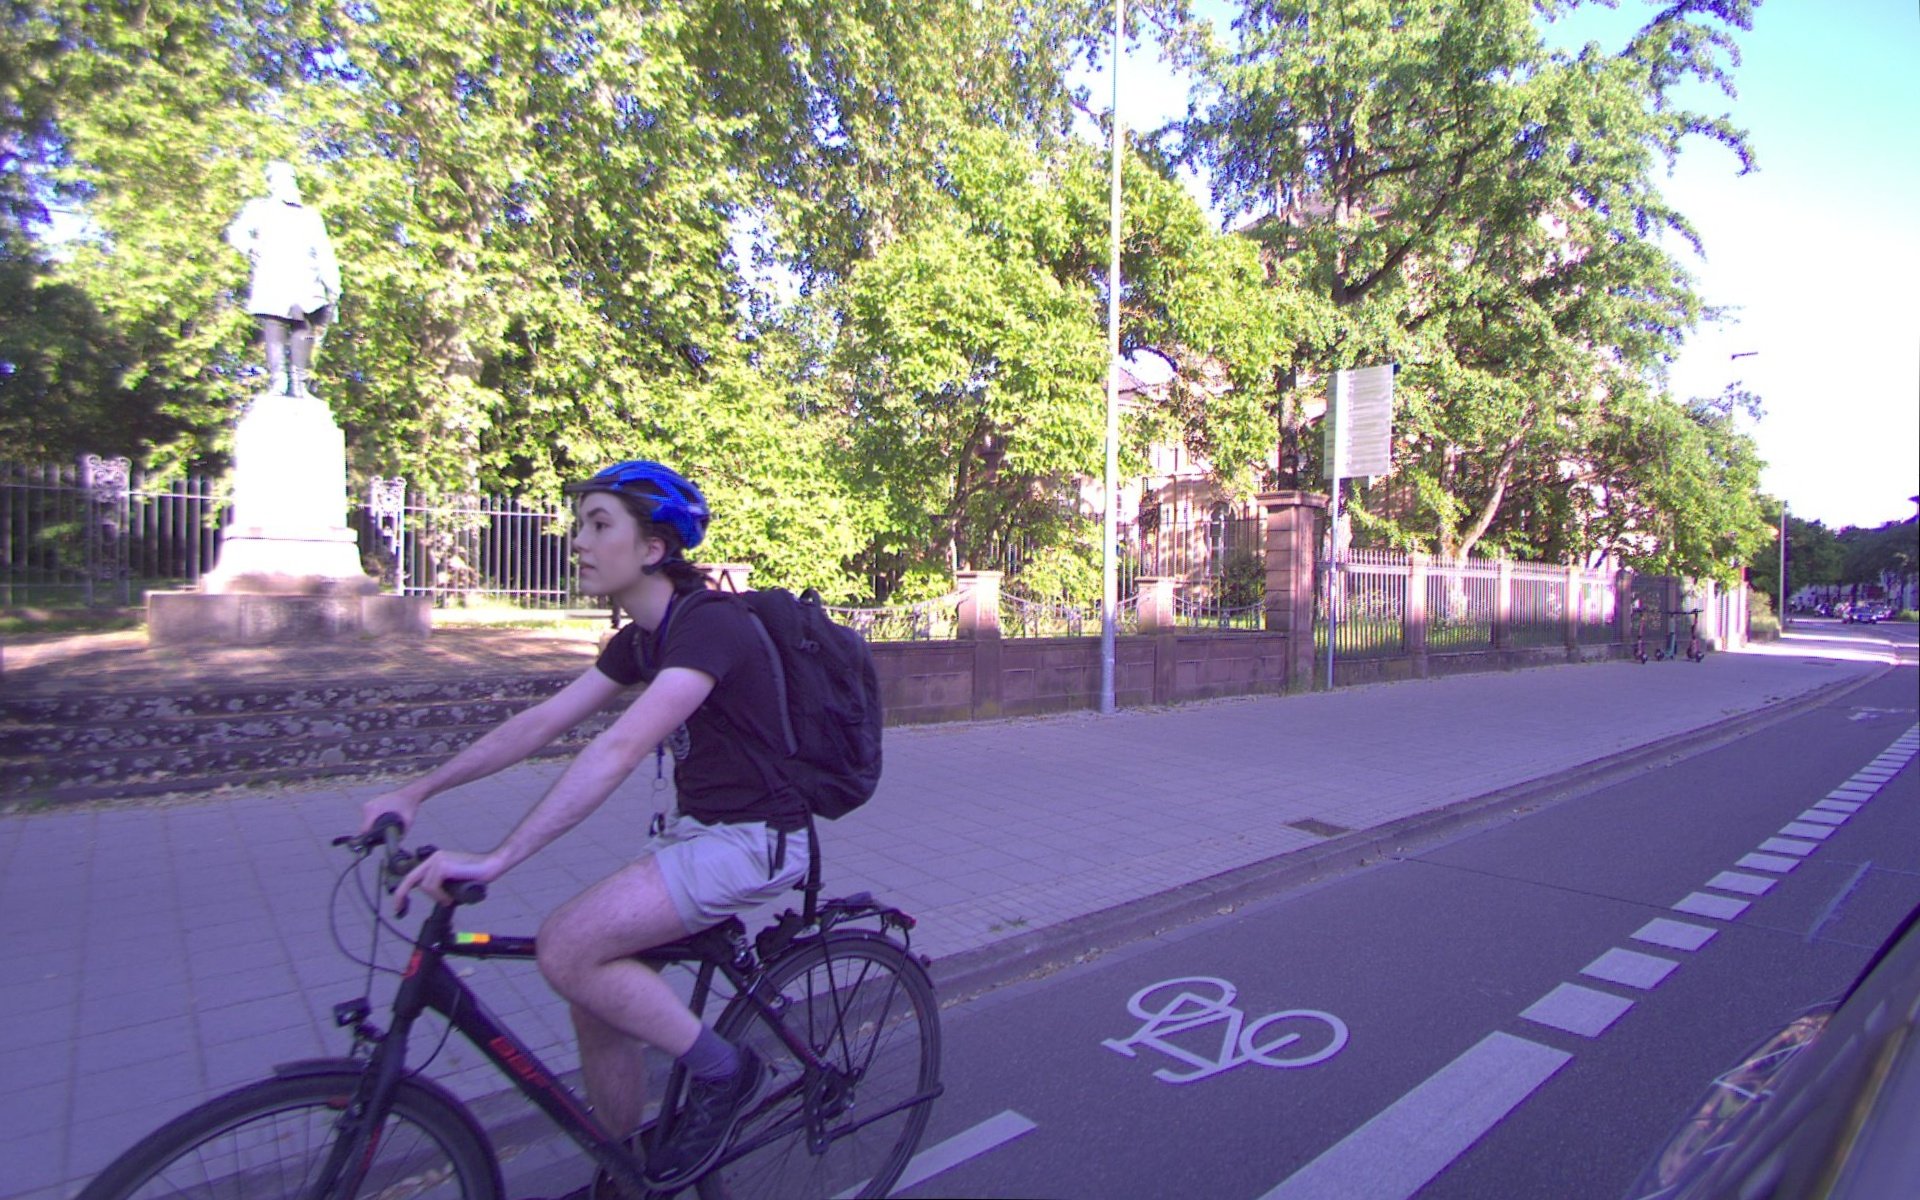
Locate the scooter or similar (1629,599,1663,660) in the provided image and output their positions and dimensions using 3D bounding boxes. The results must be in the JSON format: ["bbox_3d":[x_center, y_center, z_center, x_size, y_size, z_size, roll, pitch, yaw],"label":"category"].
[{"bbox_3d":[15.200,0.633,22.440,0.572,1.269,1.469,2,1,34],"label":"scooter or similar"}]

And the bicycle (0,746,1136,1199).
[{"bbox_3d":[-0.556,0.938,2.052,2.045,1.022,0.670,0,-1,-41],"label":"bicycle"}]

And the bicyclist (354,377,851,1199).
[{"bbox_3d":[-0.689,0.490,1.944,0.708,1.622,0.666,1,-1,-41],"label":"bicyclist"}]

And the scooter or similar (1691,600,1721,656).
[{"bbox_3d":[17.672,0.649,23.974,0.514,1.255,1.501,2,1,38],"label":"scooter or similar"}]

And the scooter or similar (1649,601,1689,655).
[{"bbox_3d":[16.567,0.645,23.642,0.574,1.199,1.465,2,1,42],"label":"scooter or similar"}]

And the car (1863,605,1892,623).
[{"bbox_3d":[77.317,1.158,85.316,1.704,1.422,4.199,2,2,42],"label":"car"}]
